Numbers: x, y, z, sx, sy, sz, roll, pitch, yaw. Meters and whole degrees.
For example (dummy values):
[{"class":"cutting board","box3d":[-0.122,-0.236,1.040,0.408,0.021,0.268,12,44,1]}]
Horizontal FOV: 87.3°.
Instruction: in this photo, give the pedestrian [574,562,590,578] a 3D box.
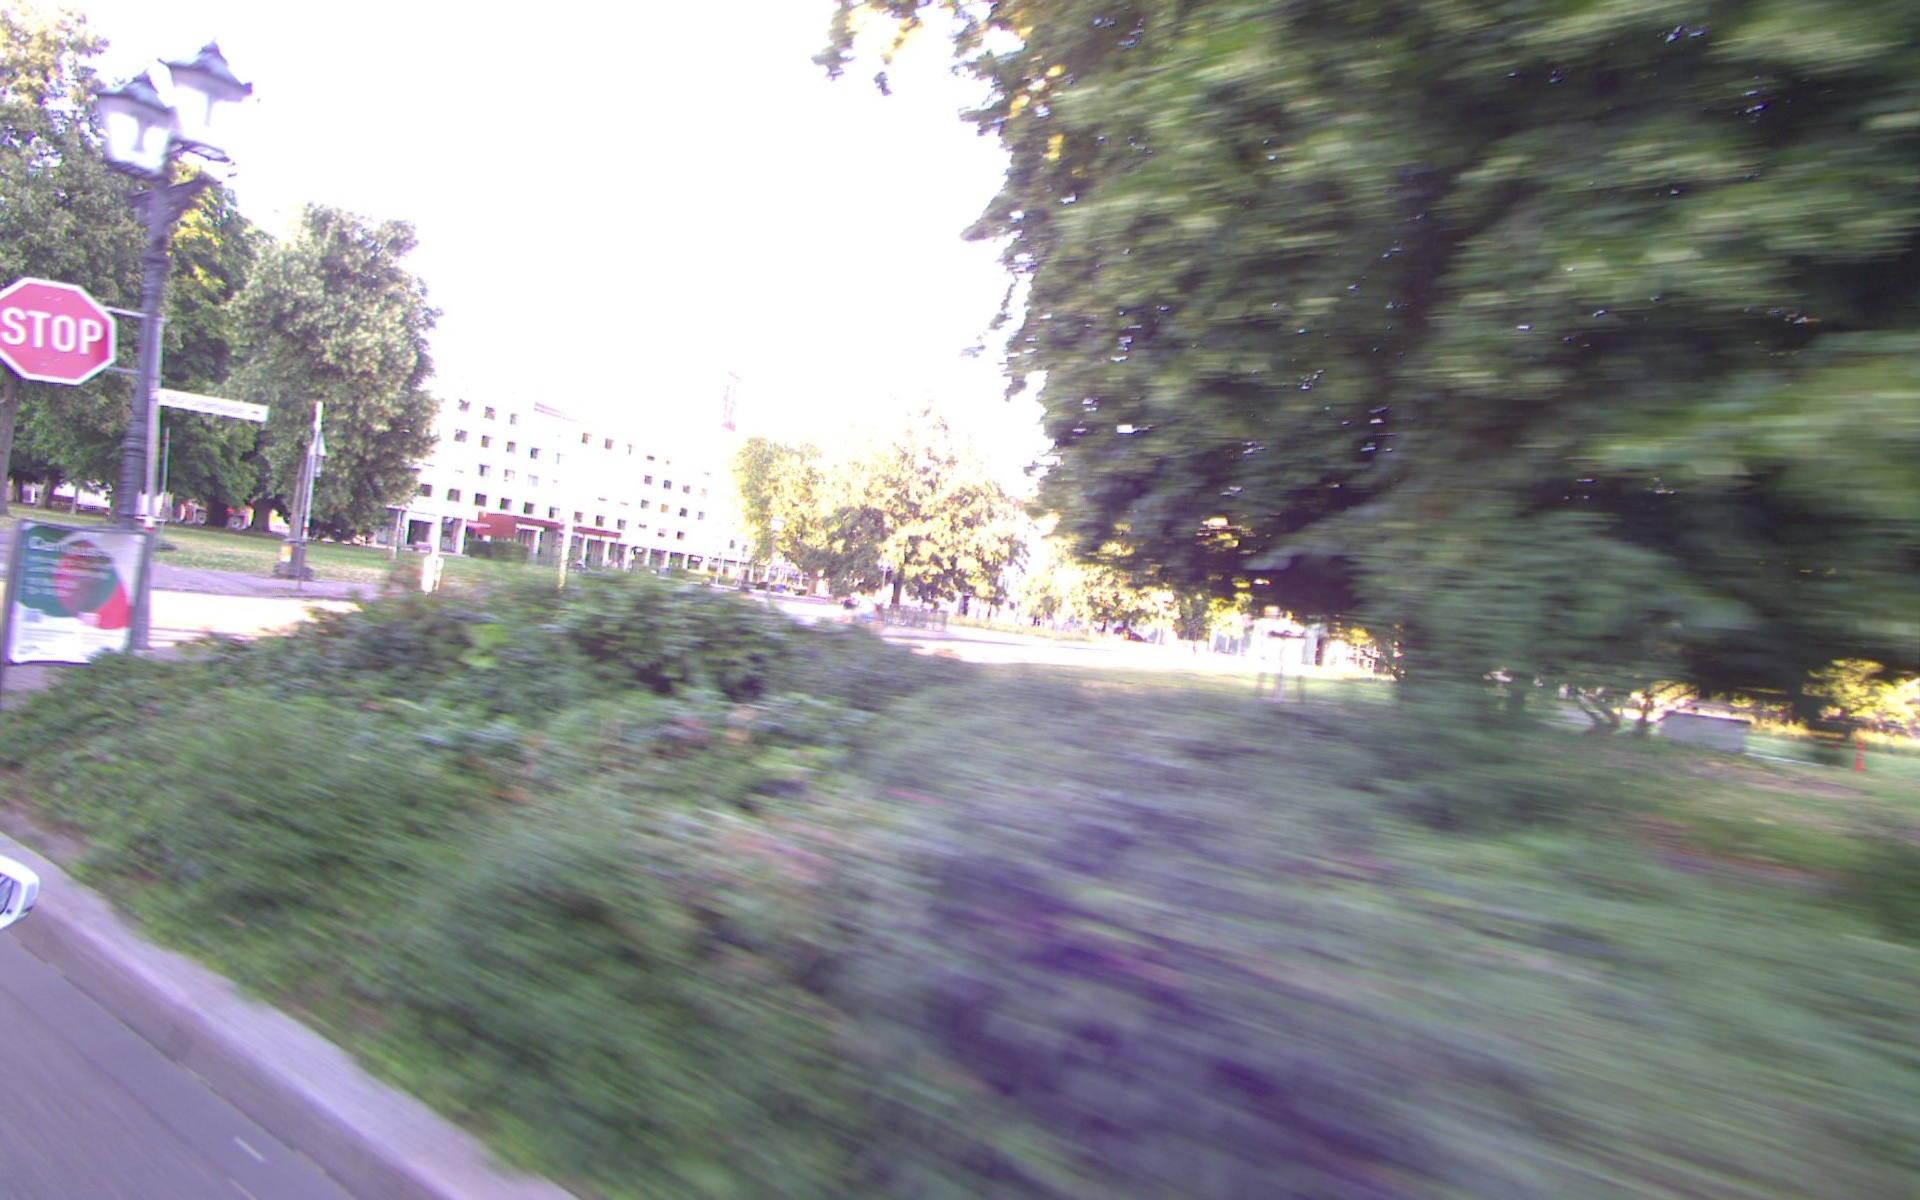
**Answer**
[{"class":"pedestrian","box3d":[-28.033,-2.226,74.631,0.893,1.091,0.614,6,1,-41]}]

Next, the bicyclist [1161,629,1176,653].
[{"class":"bicyclist","box3d":[13.391,2.630,64.648,0.630,1.462,0.695,7,1,25]}]

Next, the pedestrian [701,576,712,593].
[{"class":"pedestrian","box3d":[-17.865,-1.100,70.894,0.610,1.091,0.511,6,1,-8]}]

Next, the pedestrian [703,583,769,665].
[{"class":"pedestrian","box3d":[-3.801,0.399,17.110,0.857,1.277,0.598,7,1,1]}]

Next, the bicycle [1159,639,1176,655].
[{"class":"bicycle","box3d":[13.347,3.006,64.656,0.630,0.953,1.462,7,0,25]}]

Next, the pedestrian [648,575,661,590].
[{"class":"pedestrian","box3d":[-21.582,-1.244,71.127,0.609,0.936,0.512,7,1,6]}]

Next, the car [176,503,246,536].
[{"class":"car","box3d":[-61.218,-6.581,82.256,1.967,2.038,4.035,7,0,33]}]

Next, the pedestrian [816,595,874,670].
[{"class":"pedestrian","box3d":[-2.240,0.634,19.619,0.804,1.358,0.598,7,1,26]}]

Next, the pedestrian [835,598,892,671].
[{"class":"pedestrian","box3d":[-1.937,0.697,20.203,0.804,1.358,0.598,7,1,26]}]

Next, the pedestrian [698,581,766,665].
[{"class":"pedestrian","box3d":[-3.718,0.376,16.455,0.803,1.253,0.683,7,1,2]}]
